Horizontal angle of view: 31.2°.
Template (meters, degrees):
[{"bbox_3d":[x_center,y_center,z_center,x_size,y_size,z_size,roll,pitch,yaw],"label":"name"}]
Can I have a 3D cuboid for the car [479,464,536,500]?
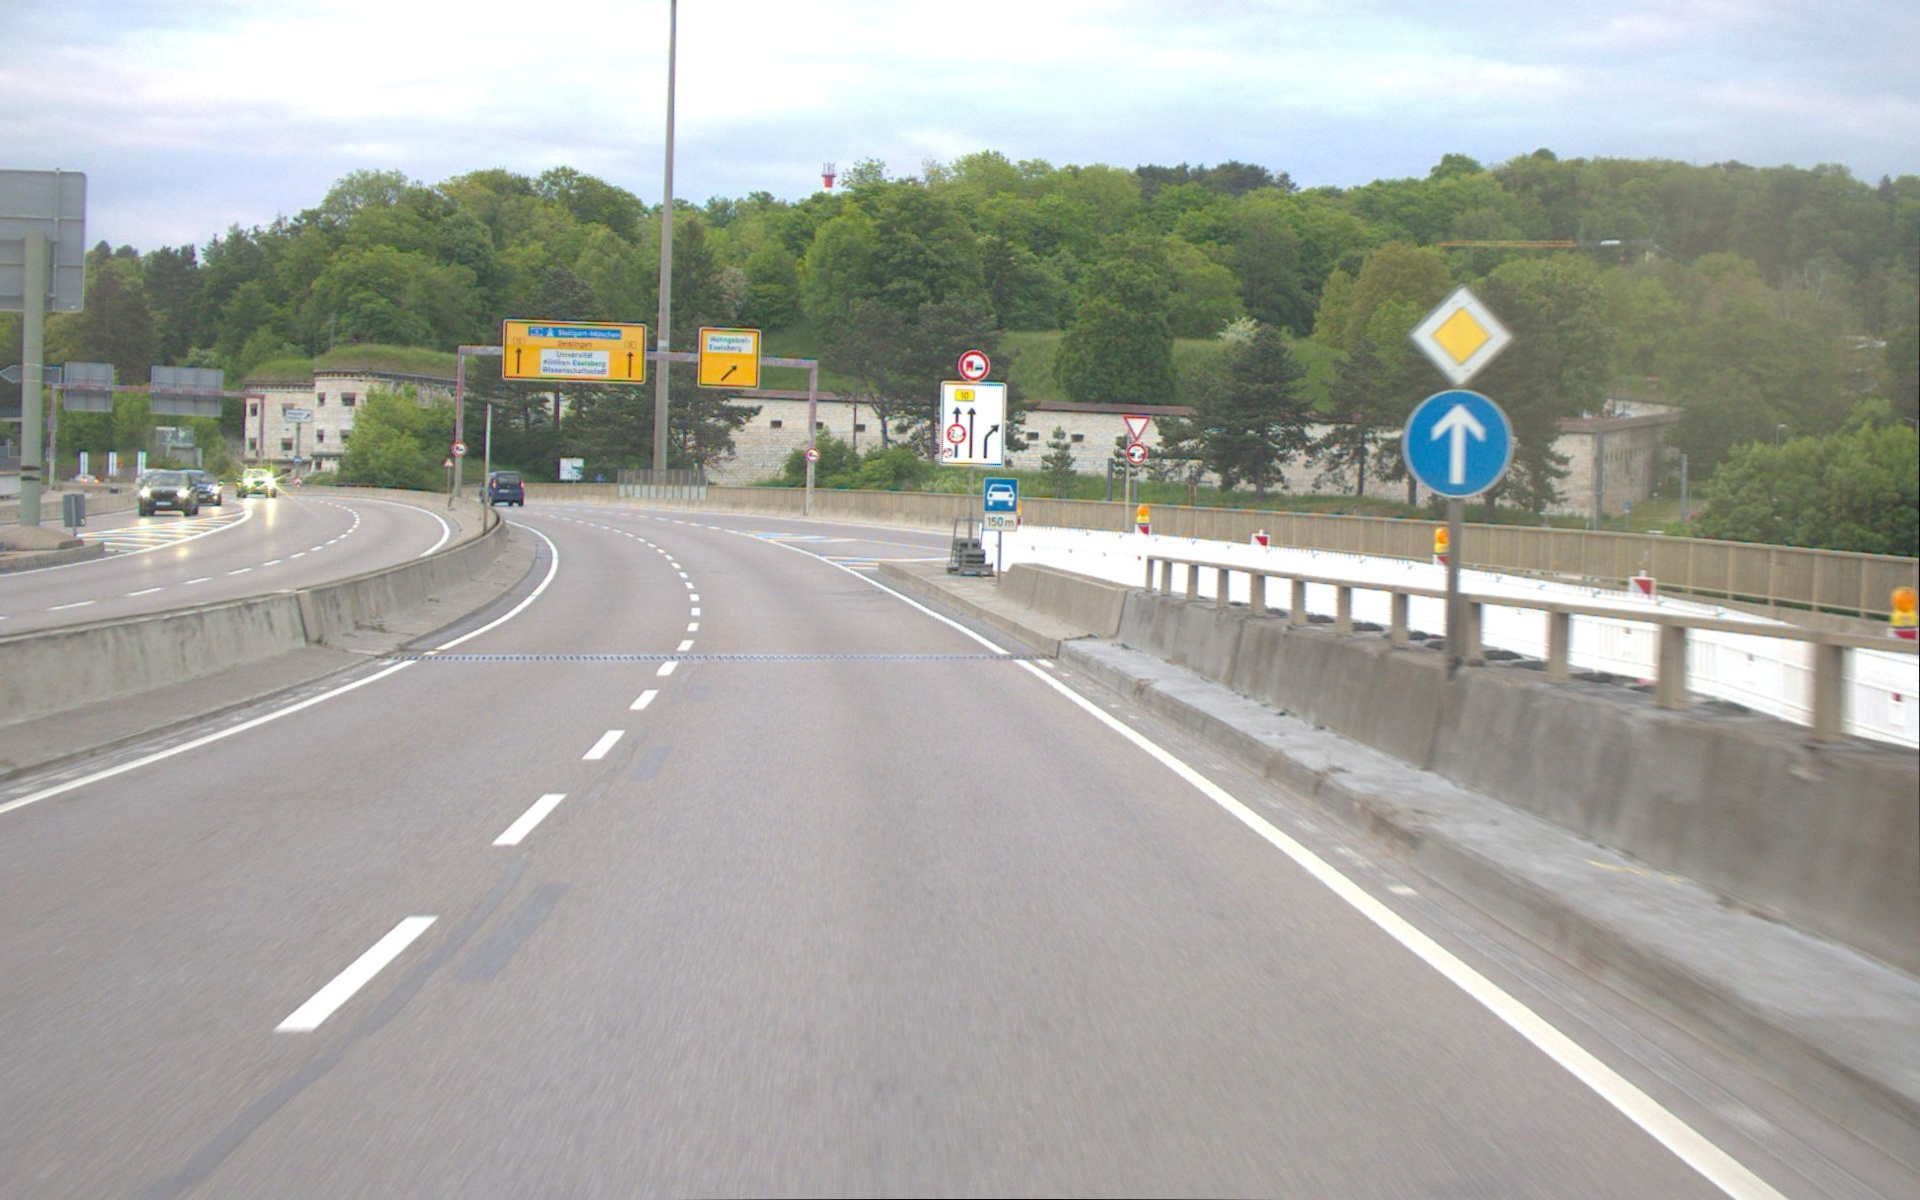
[{"bbox_3d":[-24.090,-6.283,182.860,2.304,1.757,4.264,2,2,-17],"label":"car"}]

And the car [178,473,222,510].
[{"bbox_3d":[-32.935,-4.689,149.000,1.795,1.481,3.843,1,1,-13],"label":"car"}]

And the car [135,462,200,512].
[{"bbox_3d":[-28.895,-4.113,125.420,1.636,1.711,4.001,-3,2,-5],"label":"car"}]

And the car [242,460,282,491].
[{"bbox_3d":[-37.160,-6.635,182.893,1.710,1.489,4.082,3,0,-16],"label":"car"}]
